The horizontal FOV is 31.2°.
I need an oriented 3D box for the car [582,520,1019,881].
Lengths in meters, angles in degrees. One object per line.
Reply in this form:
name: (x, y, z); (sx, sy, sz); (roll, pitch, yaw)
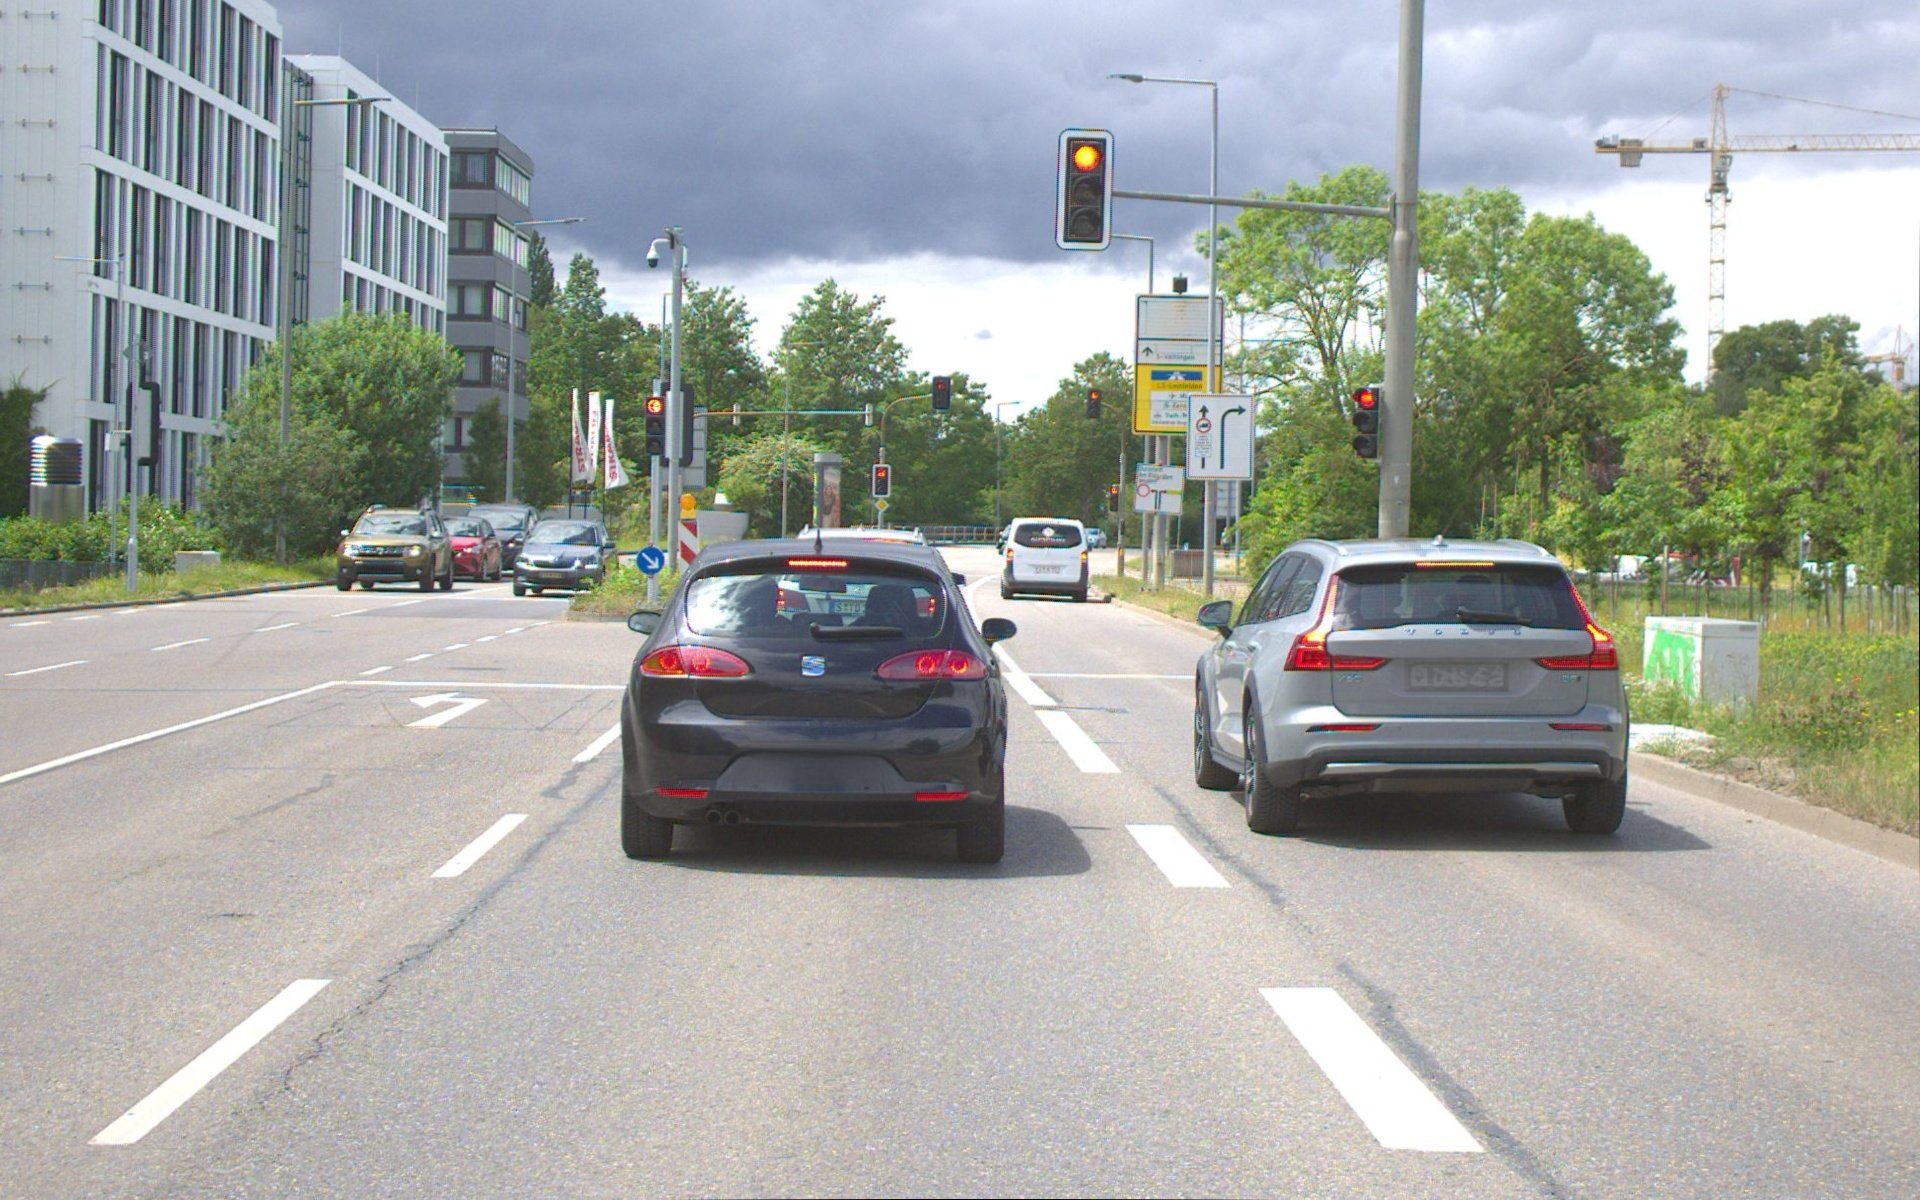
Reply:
car: (-0.650, 0.405, 16.667); (1.748, 1.478, 4.000); (2, 1, 2)

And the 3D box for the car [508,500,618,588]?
car: (-7.474, -1.080, 64.978); (1.668, 1.519, 4.009); (-1, 2, -1)

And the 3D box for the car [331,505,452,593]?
car: (-10.935, -0.987, 66.328); (1.751, 1.625, 4.000); (-1, 1, -1)

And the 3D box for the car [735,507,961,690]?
car: (-1.076, -0.067, 32.843); (1.983, 1.584, 4.226); (2, 1, -2)

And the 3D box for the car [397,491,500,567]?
car: (-11.352, -1.564, 76.482); (1.776, 1.606, 4.000); (1, 1, -1)

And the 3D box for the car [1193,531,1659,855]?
car: (2.347, 0.414, 18.408); (1.958, 1.520, 4.340); (0, 1, 1)

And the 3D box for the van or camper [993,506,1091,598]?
van or camper: (1.827, -1.060, 77.838); (1.993, 1.919, 4.000); (1, -1, -2)
